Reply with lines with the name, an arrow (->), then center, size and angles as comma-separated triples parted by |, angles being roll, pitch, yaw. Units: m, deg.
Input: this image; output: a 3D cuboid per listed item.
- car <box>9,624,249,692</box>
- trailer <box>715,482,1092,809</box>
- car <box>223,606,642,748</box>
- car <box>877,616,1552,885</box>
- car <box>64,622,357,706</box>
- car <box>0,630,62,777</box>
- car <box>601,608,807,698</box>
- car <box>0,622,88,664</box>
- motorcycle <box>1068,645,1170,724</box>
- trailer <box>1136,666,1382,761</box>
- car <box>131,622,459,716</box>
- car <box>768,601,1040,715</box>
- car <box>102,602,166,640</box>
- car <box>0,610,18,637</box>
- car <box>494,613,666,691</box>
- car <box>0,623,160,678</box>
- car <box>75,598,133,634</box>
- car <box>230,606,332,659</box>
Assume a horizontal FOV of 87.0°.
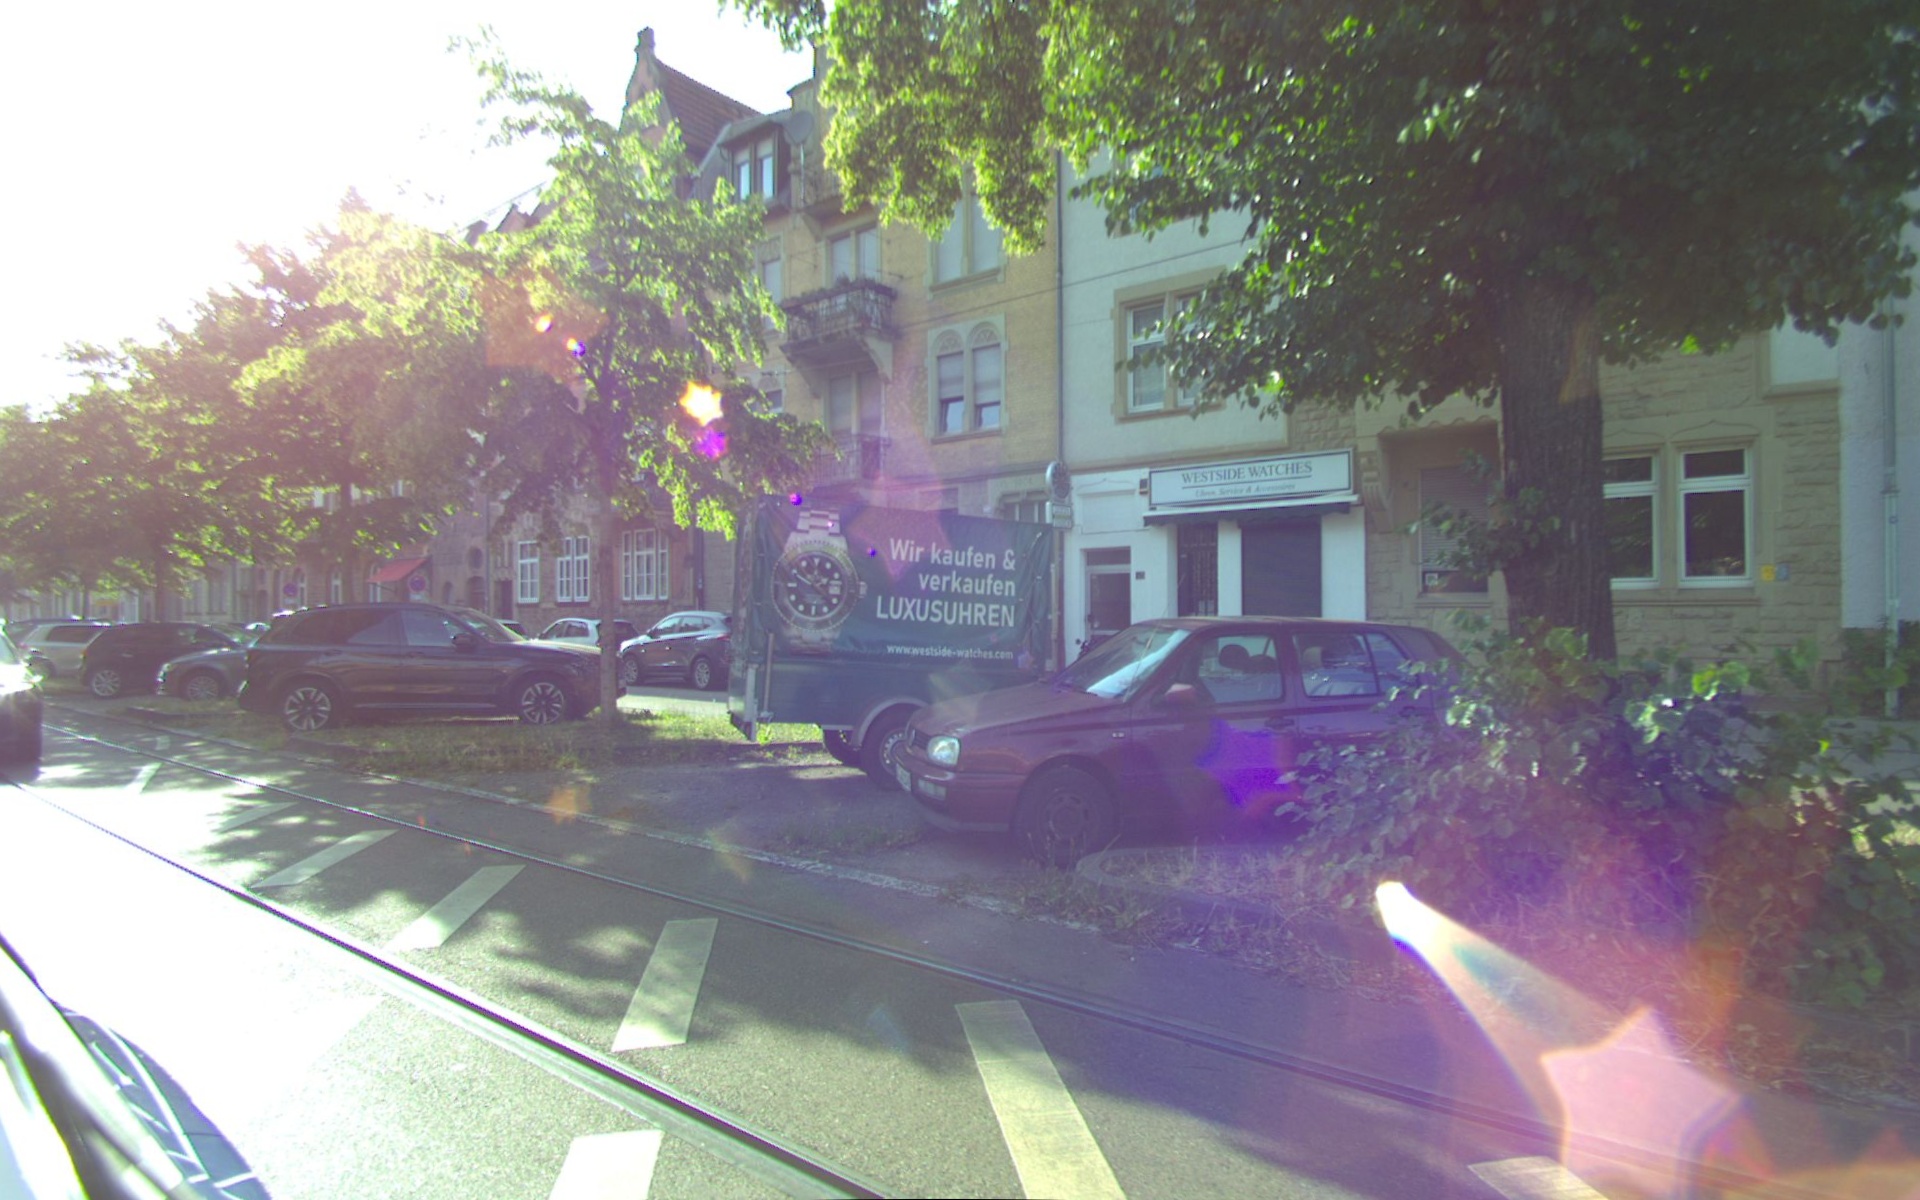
car -> -19.949, 1.366, 24.473 | 4.202, 1.433, 1.685 | -1, -1, -10
trailer -> -0.554, 0.323, 8.749 | 2.817, 2.410, 1.728 | -1, -1, -20
car -> -6.900, 0.962, 13.819 | 4.642, 1.703, 2.176 | 0, -1, -9
car -> 1.531, 0.809, 6.569 | 3.887, 1.370, 1.677 | 0, -1, -14
car -> -14.685, 1.222, 20.084 | 4.236, 1.433, 1.963 | -1, -1, -10
car -> -11.587, 1.100, 11.300 | 3.997, 1.492, 1.816 | -2, -2, 41
car -> -5.720, 1.107, 22.341 | 4.608, 1.763, 2.143 | -2, -1, 41
car -> -33.572, 1.494, 35.352 | 4.202, 1.433, 2.177 | 0, -1, -10
motorcycle -> 2.420, 1.261, 15.611 | 0.626, 1.088, 1.739 | -1, -1, -27
trailer -> 4.054, 1.480, 13.841 | 2.876, 0.902, 1.427 | -2, 5, 39
car -> -11.491, 1.144, 17.844 | 4.532, 1.392, 1.706 | -1, -1, -17
car -> -1.111, 0.958, 18.182 | 4.715, 1.763, 2.143 | -2, -1, 41
car -> -45.674, 1.183, 55.918 | 3.996, 2.029, 1.974 | -2, -1, 39
car -> -75.976, 1.881, 79.908 | 3.999, 2.029, 1.972 | -2, -1, 42
car -> -9.698, 1.275, 25.683 | 4.608, 1.763, 2.143 | -2, -1, 41
car -> -26.024, 1.447, 29.114 | 4.202, 1.433, 2.177 | -1, -1, -10
car -> -51.579, 0.969, 60.976 | 3.996, 2.029, 1.974 | -2, -1, 39
car -> -26.212, 1.231, 39.005 | 4.608, 1.915, 2.143 | -2, -1, 41
